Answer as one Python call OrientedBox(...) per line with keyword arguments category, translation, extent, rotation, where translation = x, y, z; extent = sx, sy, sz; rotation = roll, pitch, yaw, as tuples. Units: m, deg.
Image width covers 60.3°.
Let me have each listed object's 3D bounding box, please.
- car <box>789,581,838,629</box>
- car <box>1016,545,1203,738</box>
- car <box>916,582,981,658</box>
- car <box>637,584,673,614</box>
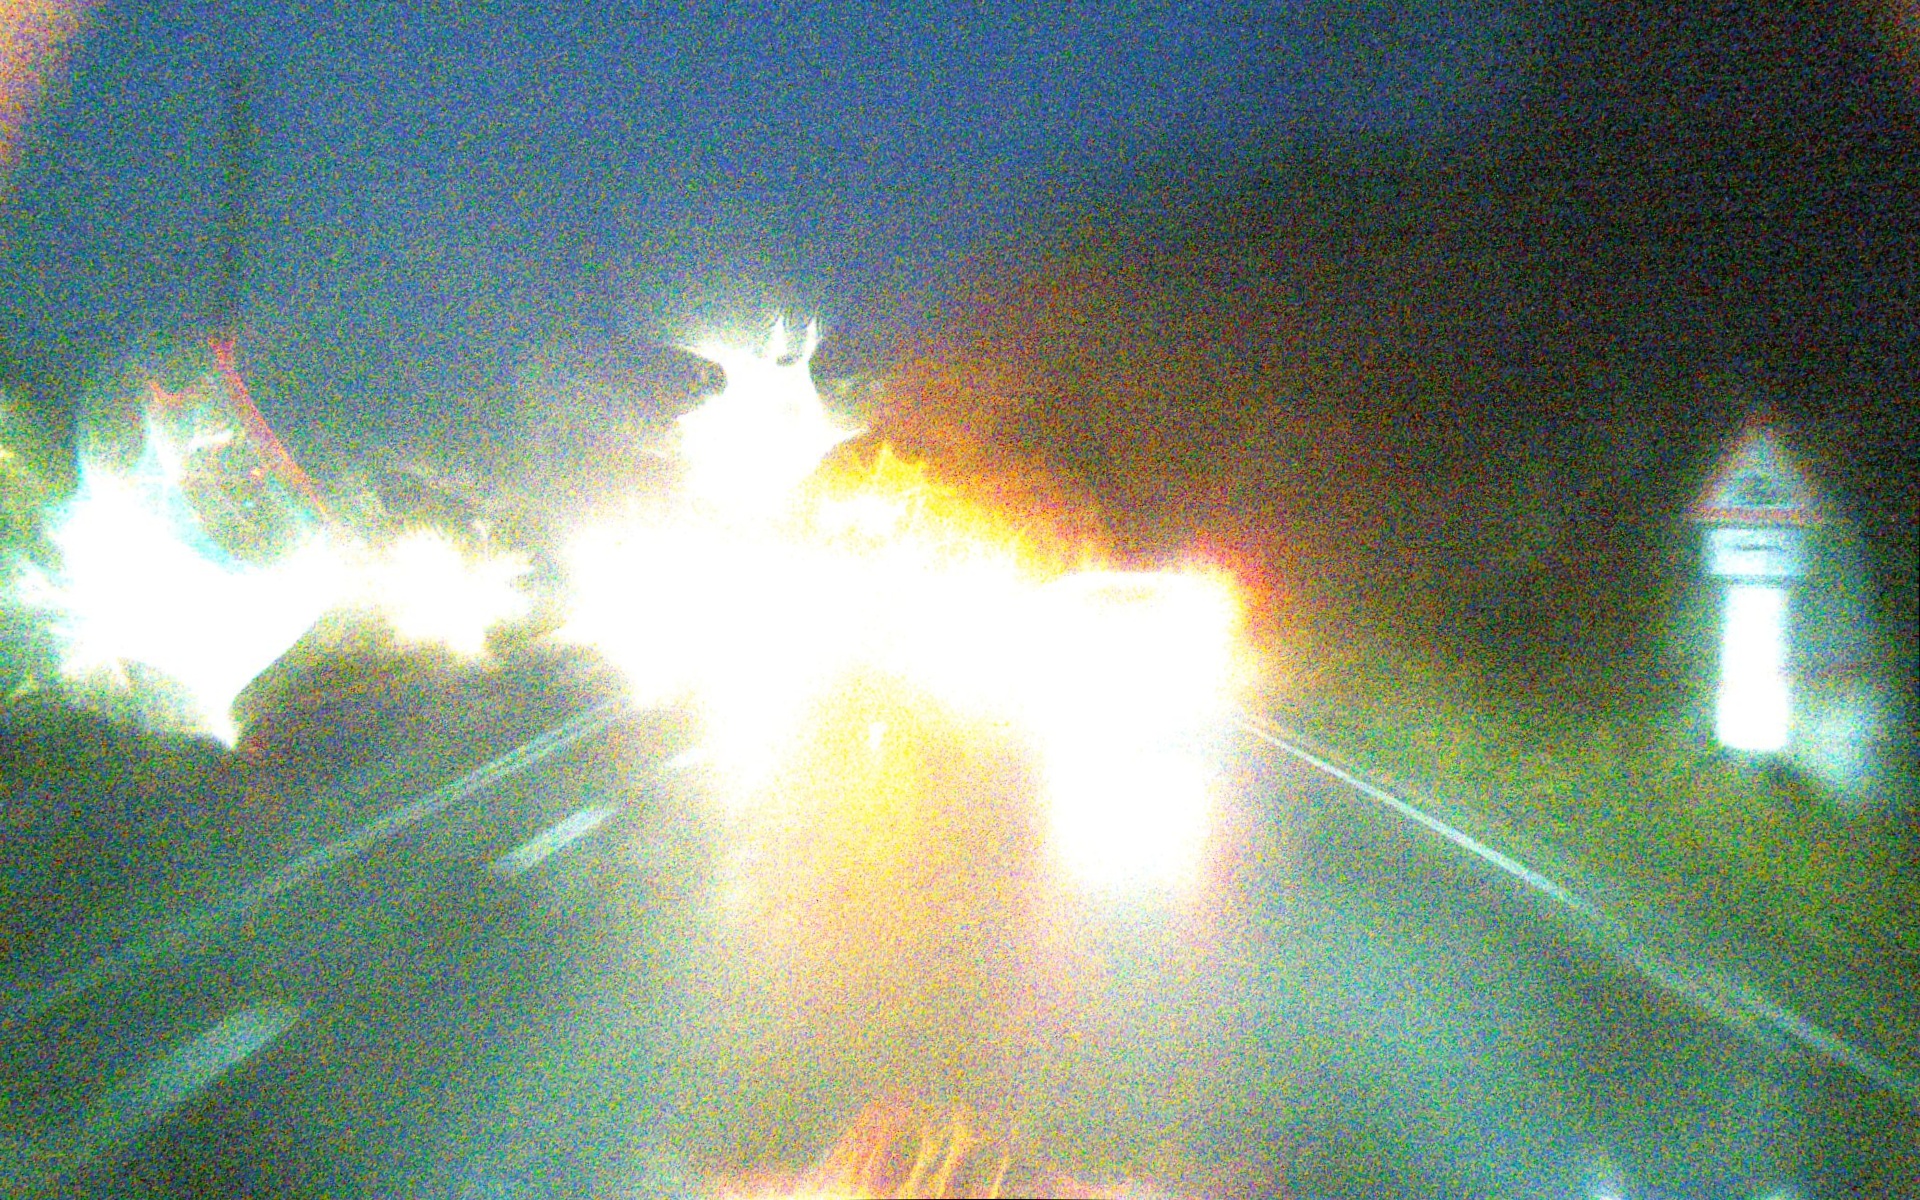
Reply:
OrientedBox(category="car", translation=(-5.717, 0.165, 64.225), extent=(1.750, 1.813, 4.429), rotation=(0, 1, -7))
OrientedBox(category="car", translation=(1.669, 0.418, 19.904), extent=(1.755, 2.057, 4.578), rotation=(0, 1, -1))
OrientedBox(category="car", translation=(-0.359, 0.515, 46.700), extent=(1.755, 2.057, 4.578), rotation=(0, 1, -1))
OrientedBox(category="car", translation=(-16.812, -0.047, 91.280), extent=(1.768, 1.616, 4.024), rotation=(1, 0, -8))
